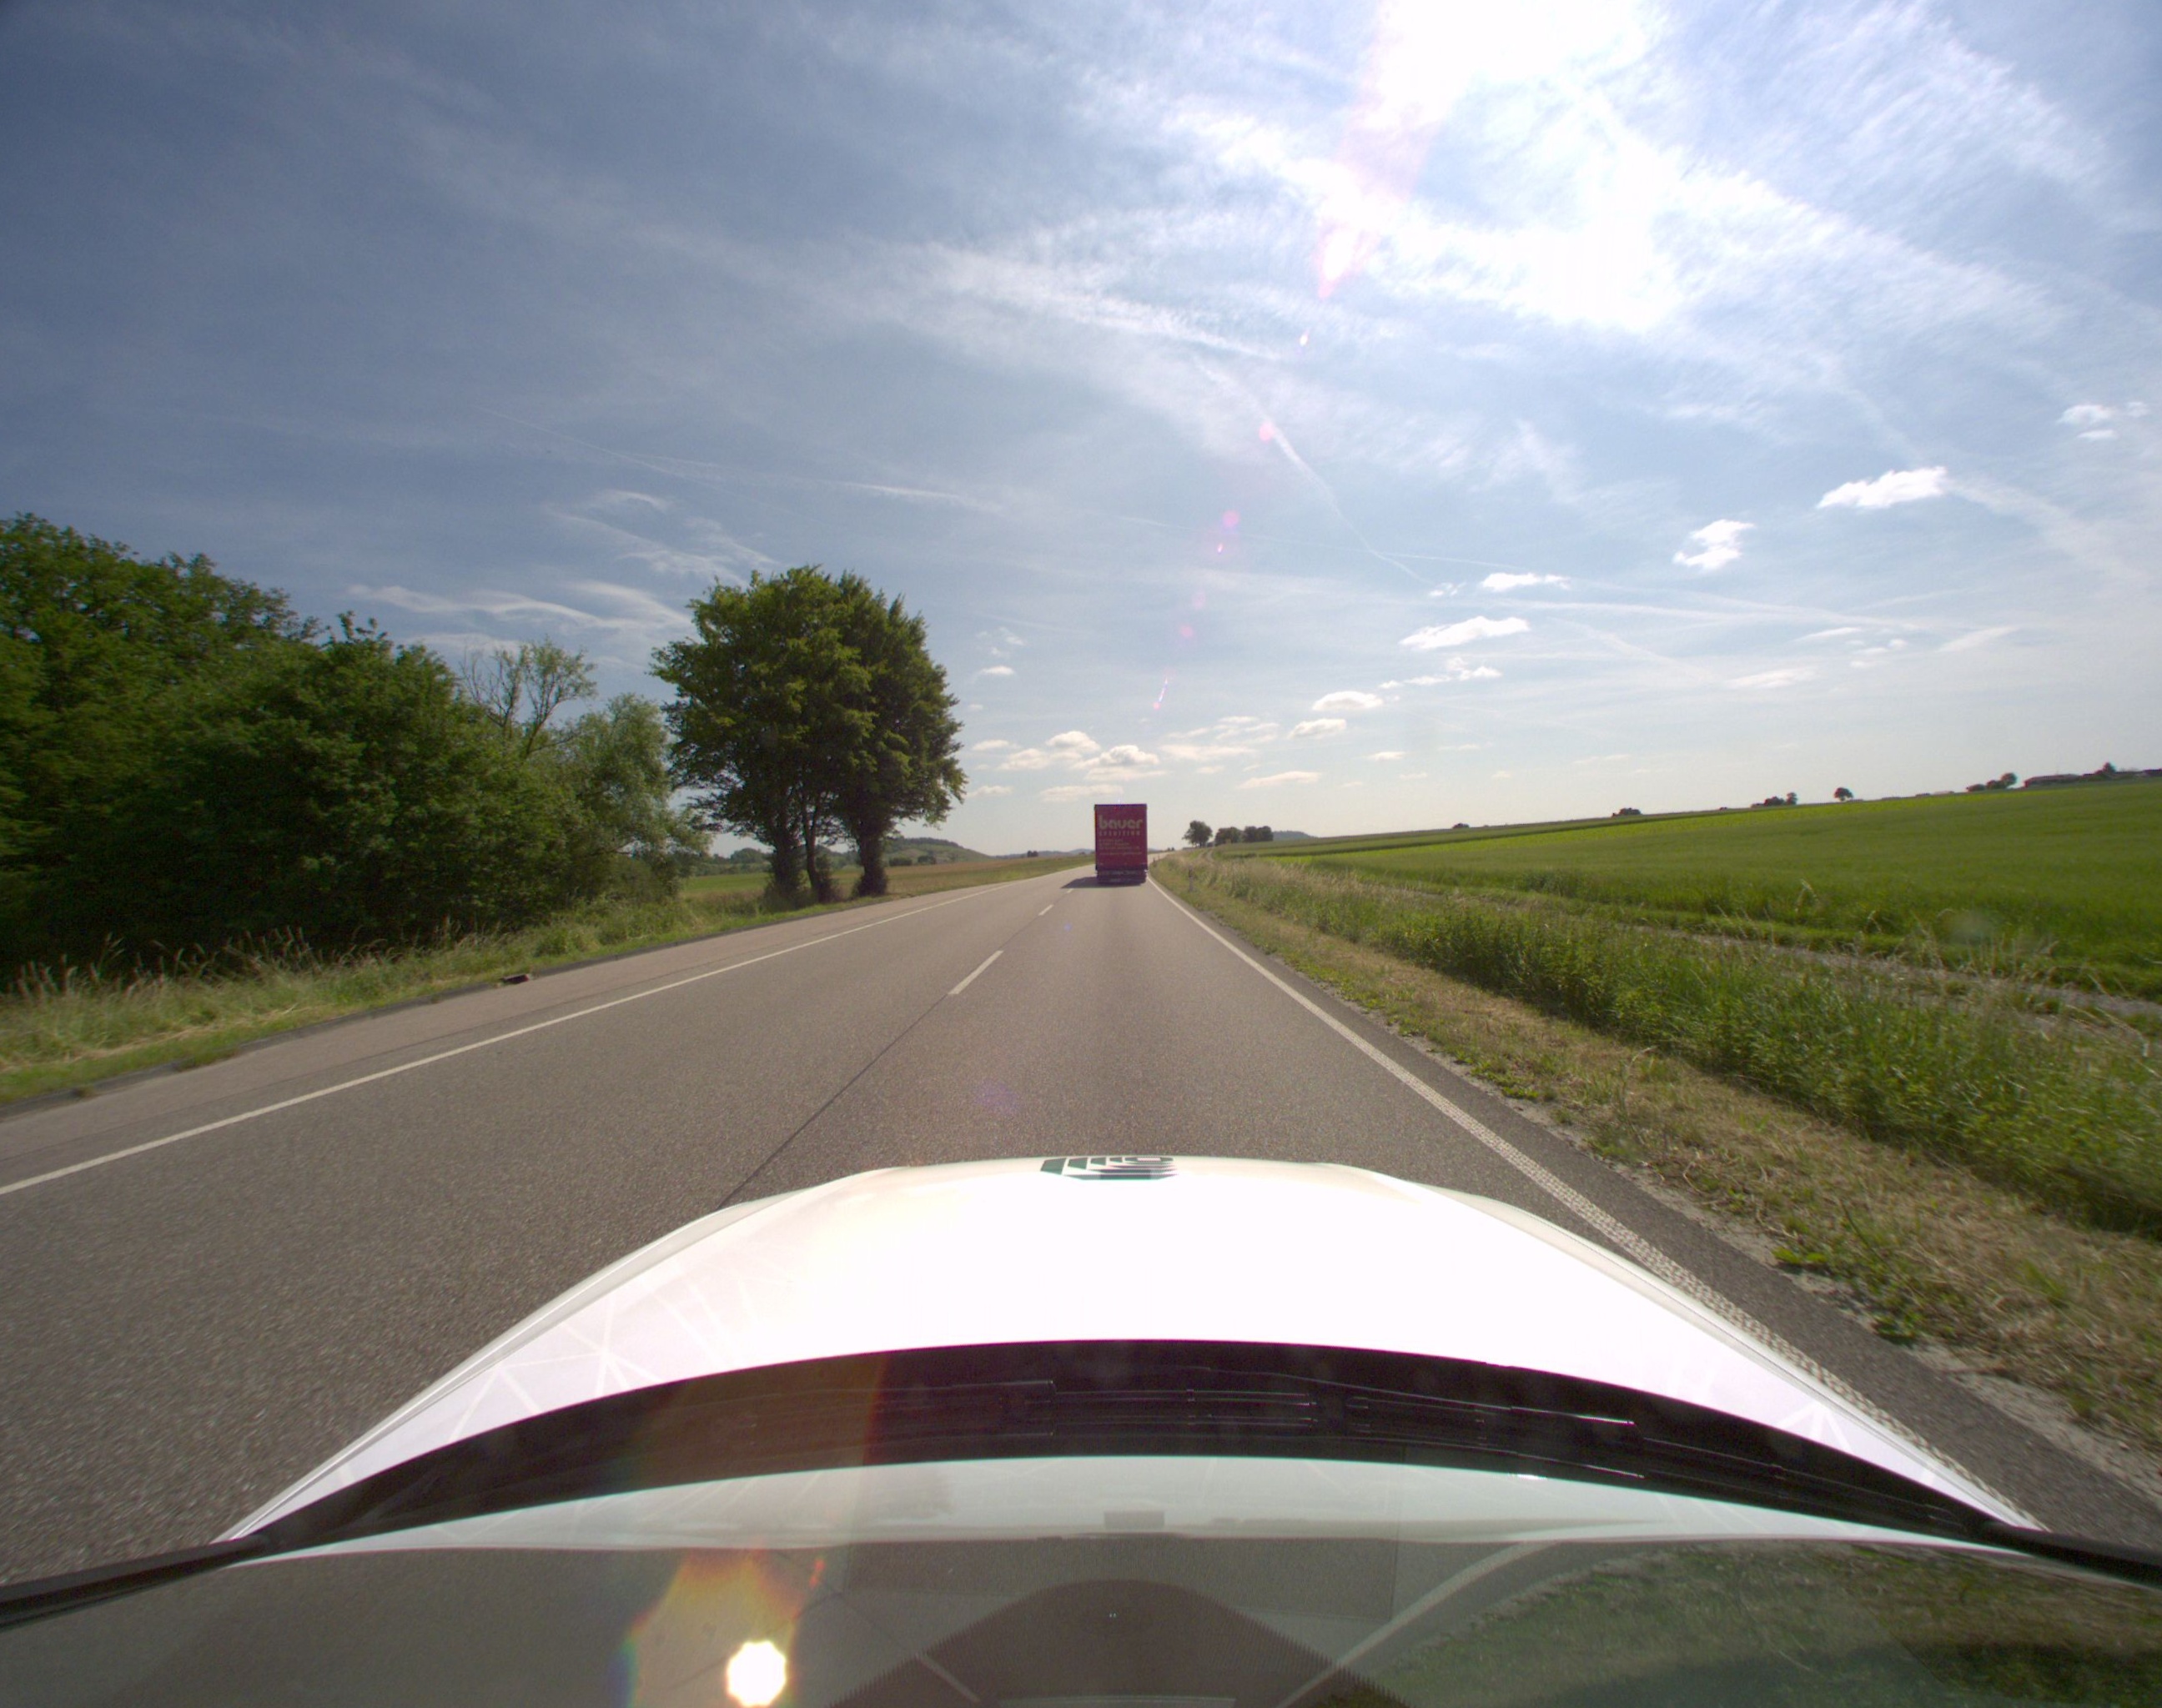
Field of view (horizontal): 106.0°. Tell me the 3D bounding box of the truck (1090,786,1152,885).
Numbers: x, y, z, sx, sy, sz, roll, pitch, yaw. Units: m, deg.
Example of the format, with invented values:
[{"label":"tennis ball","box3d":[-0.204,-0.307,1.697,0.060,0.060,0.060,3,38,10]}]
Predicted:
[{"label":"truck","box3d":[2.020,-0.847,43.671,2.964,4.713,9.367,0,0,1]}]
